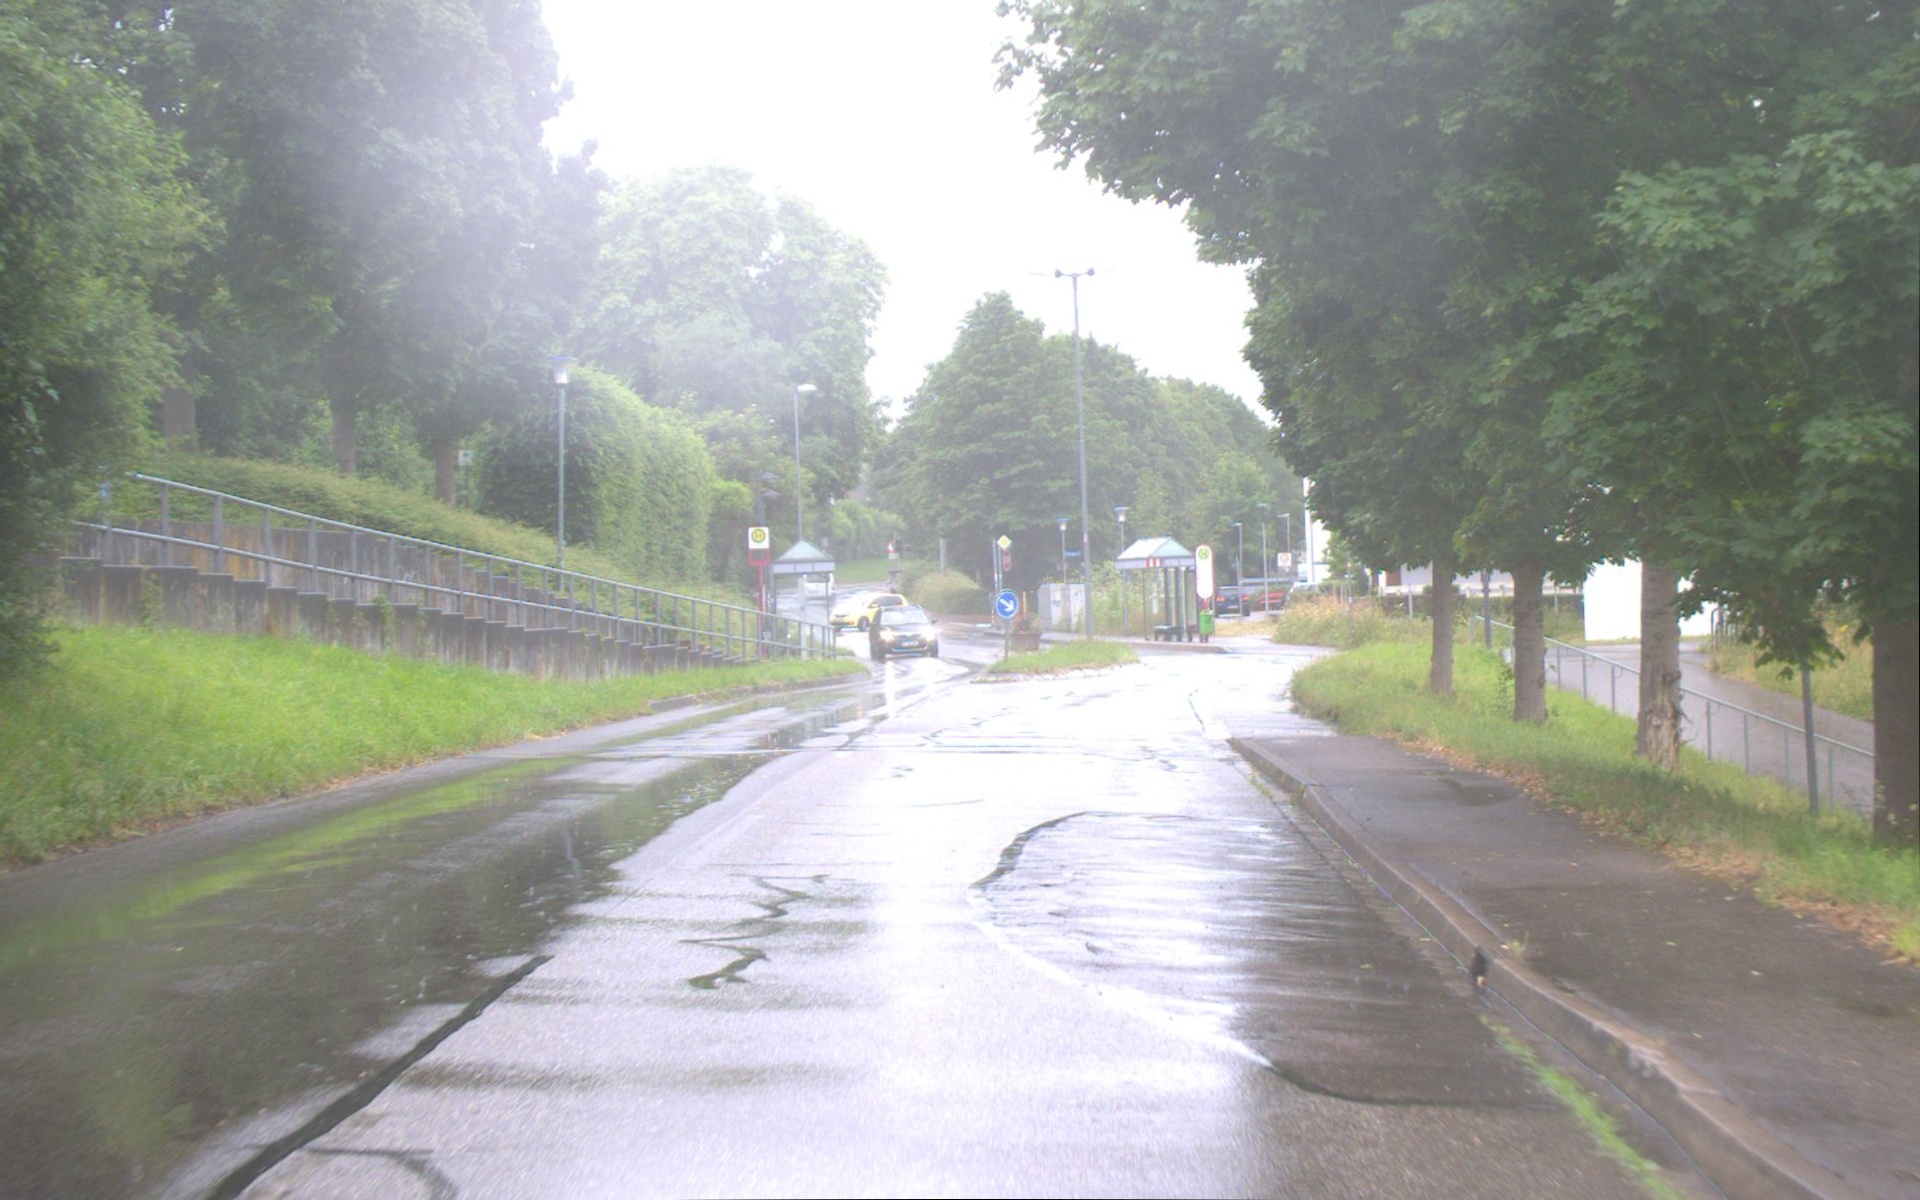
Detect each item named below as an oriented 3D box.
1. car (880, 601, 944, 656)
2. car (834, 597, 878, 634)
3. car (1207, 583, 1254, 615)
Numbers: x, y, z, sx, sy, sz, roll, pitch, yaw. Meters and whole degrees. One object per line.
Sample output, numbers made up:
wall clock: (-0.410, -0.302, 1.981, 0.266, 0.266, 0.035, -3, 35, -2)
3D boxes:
car: (-1.431, 0.820, 101.061, 1.760, 1.498, 4.141, -3, 0, -2)
car: (-4.296, 0.622, 141.037, 1.572, 1.405, 3.474, -3, 0, -4)
car: (13.132, -0.049, 166.963, 1.688, 1.433, 3.613, -2, 2, -5)
